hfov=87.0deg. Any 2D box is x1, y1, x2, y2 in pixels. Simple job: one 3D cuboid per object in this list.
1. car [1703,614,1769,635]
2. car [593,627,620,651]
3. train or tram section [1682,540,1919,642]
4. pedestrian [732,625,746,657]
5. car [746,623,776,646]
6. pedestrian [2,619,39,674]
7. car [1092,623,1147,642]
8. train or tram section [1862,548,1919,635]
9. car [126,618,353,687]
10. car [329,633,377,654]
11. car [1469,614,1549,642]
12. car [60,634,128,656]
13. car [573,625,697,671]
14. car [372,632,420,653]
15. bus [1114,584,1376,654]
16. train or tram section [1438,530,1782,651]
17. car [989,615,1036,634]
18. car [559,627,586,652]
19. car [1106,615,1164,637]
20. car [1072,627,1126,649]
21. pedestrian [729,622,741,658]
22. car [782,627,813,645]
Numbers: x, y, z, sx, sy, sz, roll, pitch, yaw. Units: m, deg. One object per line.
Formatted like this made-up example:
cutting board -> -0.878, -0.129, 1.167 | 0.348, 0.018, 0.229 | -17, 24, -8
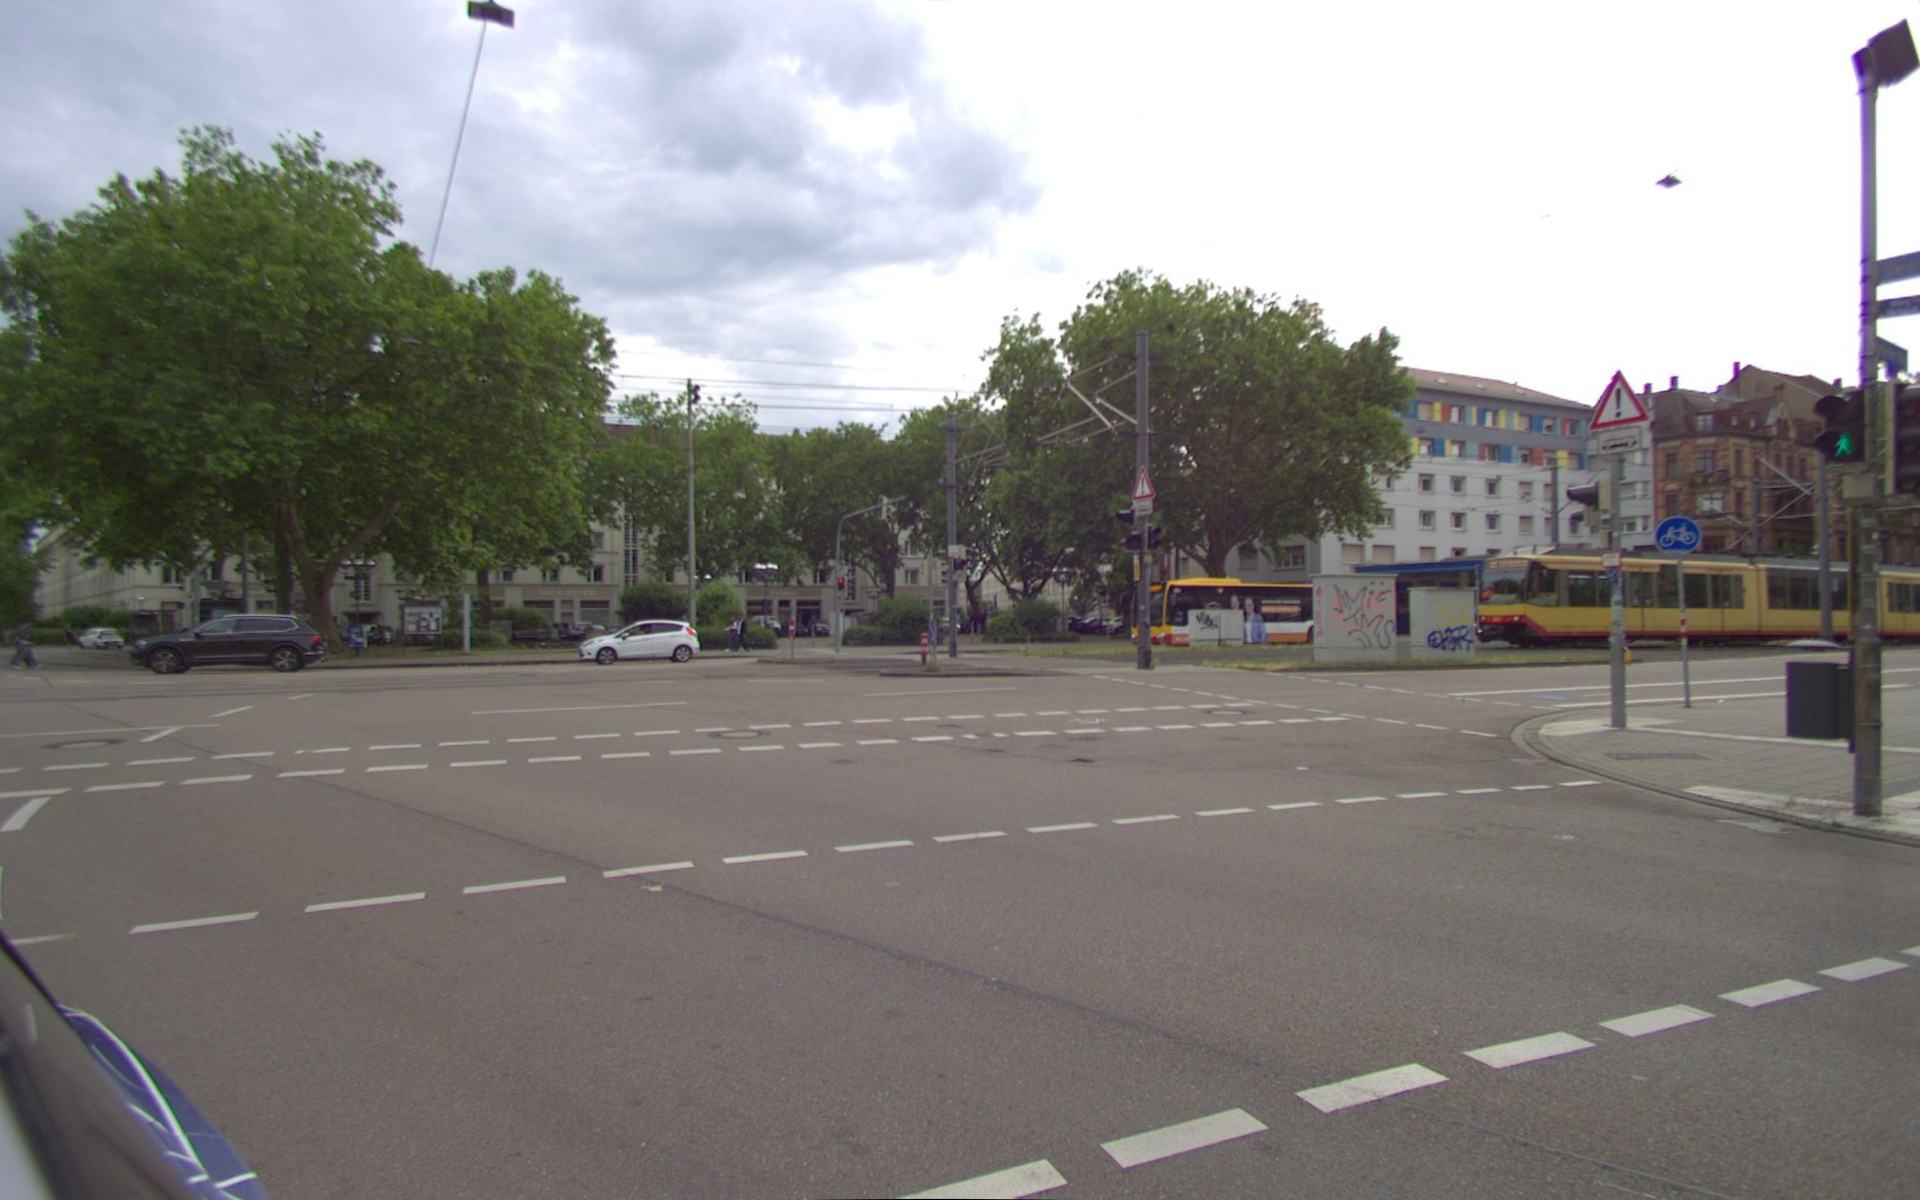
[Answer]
car -> 48.599, 1.520, 63.372 | 3.823, 1.230, 1.714 | 0, 0, -25
car -> -30.682, 3.355, 87.712 | 1.965, 2.029, 4.013 | 0, -2, -23
train or tram section -> 38.813, -0.363, 45.432 | 14.777, 4.124, 3.593 | 0, 0, -25
pedestrian -> -9.139, 1.690, 41.815 | 0.462, 1.336, 0.458 | 0, -1, -32
car -> -18.530, 3.201, 94.128 | 1.965, 2.029, 4.013 | 0, -2, -23
pedestrian -> -33.060, 1.609, 35.619 | 0.682, 1.900, 0.686 | 0, 0, 14
car -> 12.088, 2.433, 76.777 | 3.823, 1.369, 1.714 | 0, 0, -25
train or tram section -> 54.421, -0.390, 52.681 | 19.601, 4.124, 3.640 | 0, 0, -25
car -> -20.413, 1.436, 28.965 | 5.060, 1.796, 1.714 | 0, 0, -25
car -> -42.065, 2.972, 70.099 | 1.969, 1.400, 4.838 | 1, -2, -42
car -> 28.686, 1.426, 52.862 | 3.823, 1.369, 1.714 | 0, 0, -25
car -> -62.171, 3.209, 72.671 | 3.963, 1.497, 1.794 | -1, -1, 15
car -> -10.996, 1.596, 34.220 | 3.823, 1.408, 1.714 | 0, 0, -25
car -> -40.160, 3.018, 71.977 | 1.969, 1.400, 4.838 | 1, -2, -42
bus -> 13.049, 0.782, 45.849 | 12.165, 2.878, 3.303 | 0, 0, -25
train or tram section -> 25.414, -0.331, 39.214 | 14.777, 4.124, 3.667 | 0, 0, -24
car -> 4.714, 2.209, 90.959 | 3.930, 1.586, 1.698 | 0, 0, -25
car -> -33.274, 3.375, 86.824 | 1.965, 2.029, 4.013 | 0, -2, -23
car -> 12.981, 1.925, 75.117 | 3.930, 1.586, 1.698 | 0, -2, -25
car -> 10.912, 2.982, 79.294 | 3.930, 1.586, 1.698 | 0, 0, -25
pedestrian -> -9.410, 1.687, 42.351 | 0.367, 1.490, 0.363 | 0, -1, -32
car -> -15.356, 3.384, 95.358 | 1.965, 1.586, 4.013 | 0, -2, -23
